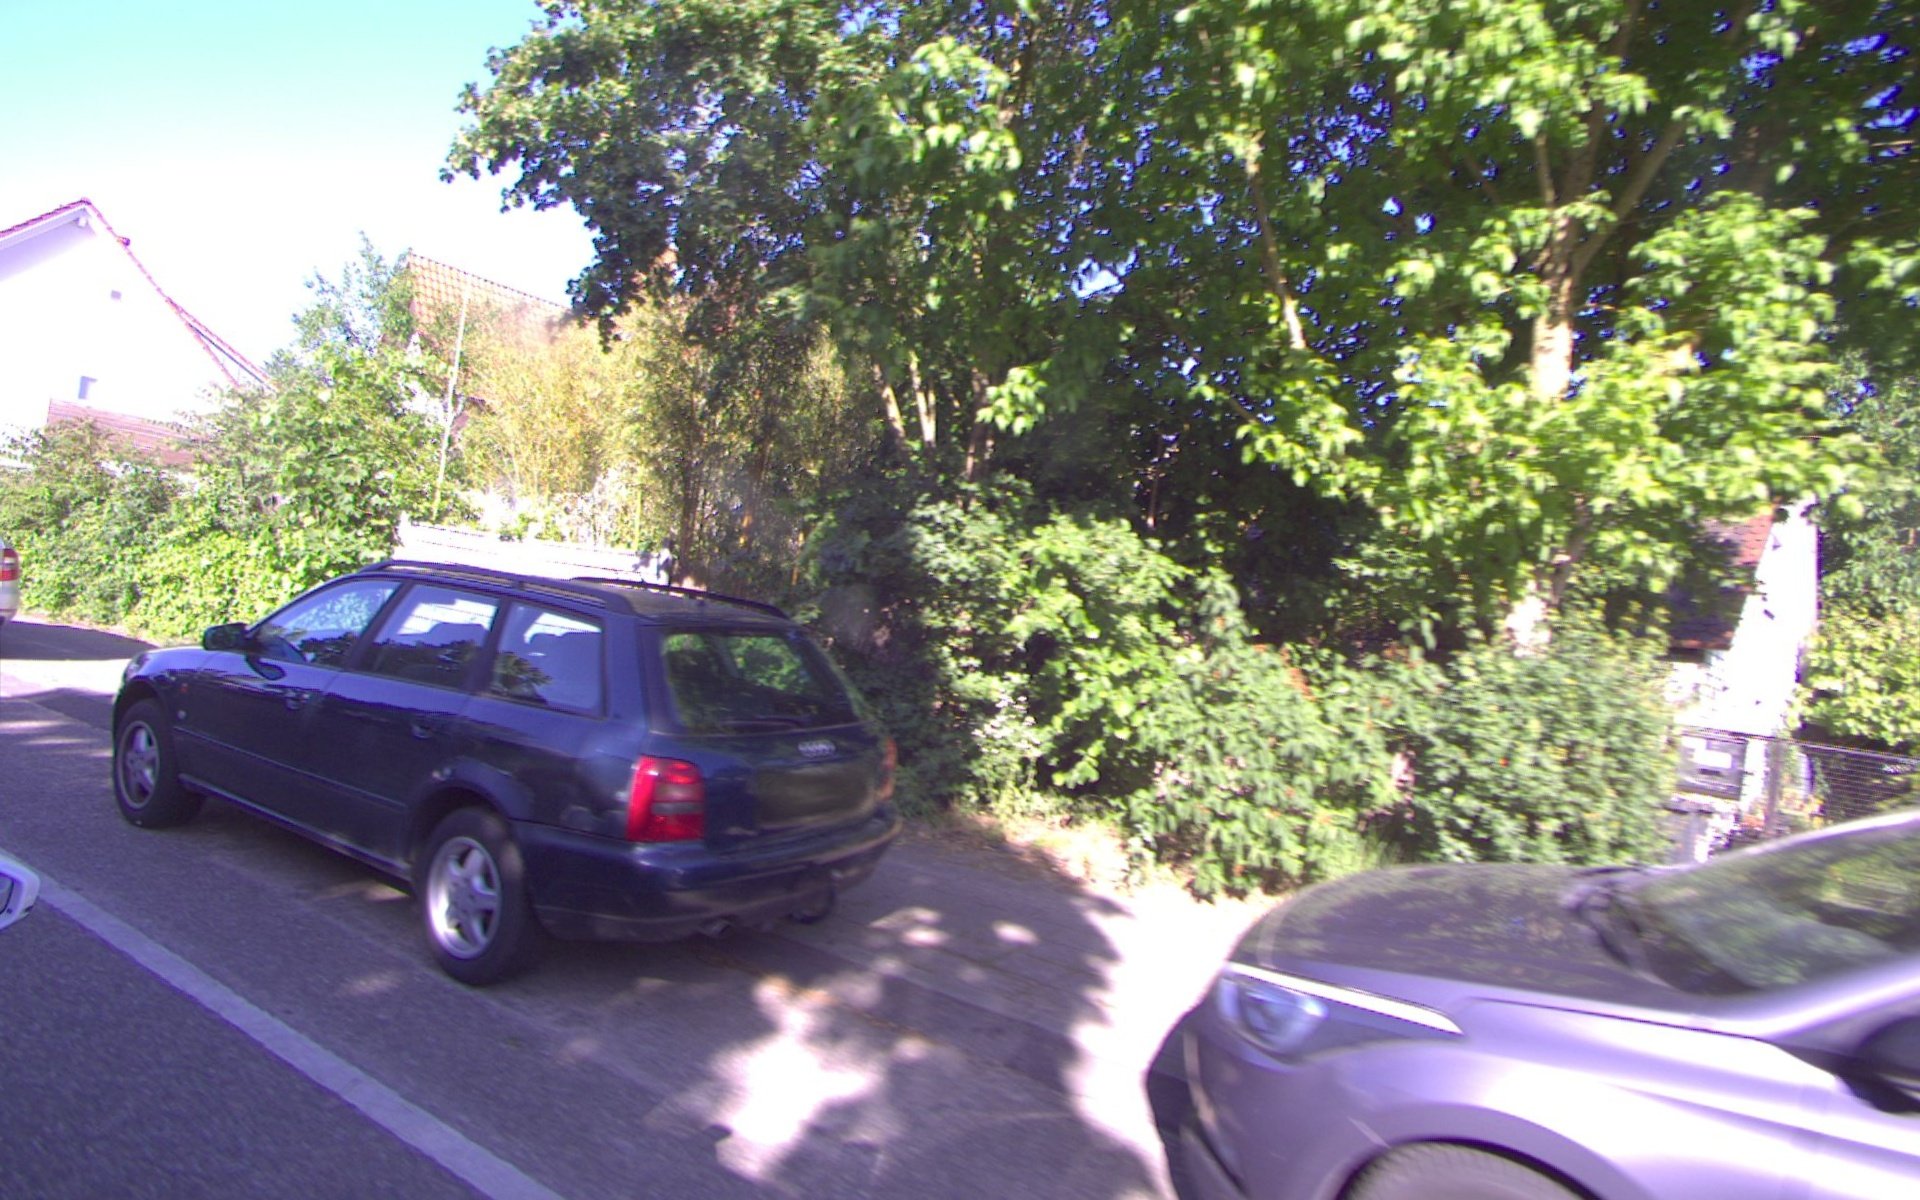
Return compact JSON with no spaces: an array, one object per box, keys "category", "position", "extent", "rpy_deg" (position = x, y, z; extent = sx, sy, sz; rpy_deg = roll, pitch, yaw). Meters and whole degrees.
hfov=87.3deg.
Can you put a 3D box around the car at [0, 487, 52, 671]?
[{"category":"car","position":[-10.619,-0.497,9.229],"extent":[4.580,1.581,1.769],"rpy_deg":[7,-2,27]}]

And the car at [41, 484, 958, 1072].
[{"category":"car","position":[-2.397,0.497,4.861],"extent":[4.389,1.581,1.658],"rpy_deg":[7,-2,30]}]

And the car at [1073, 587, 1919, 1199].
[{"category":"car","position":[2.431,1.022,2.003],"extent":[3.934,1.593,1.721],"rpy_deg":[7,0,33]}]
